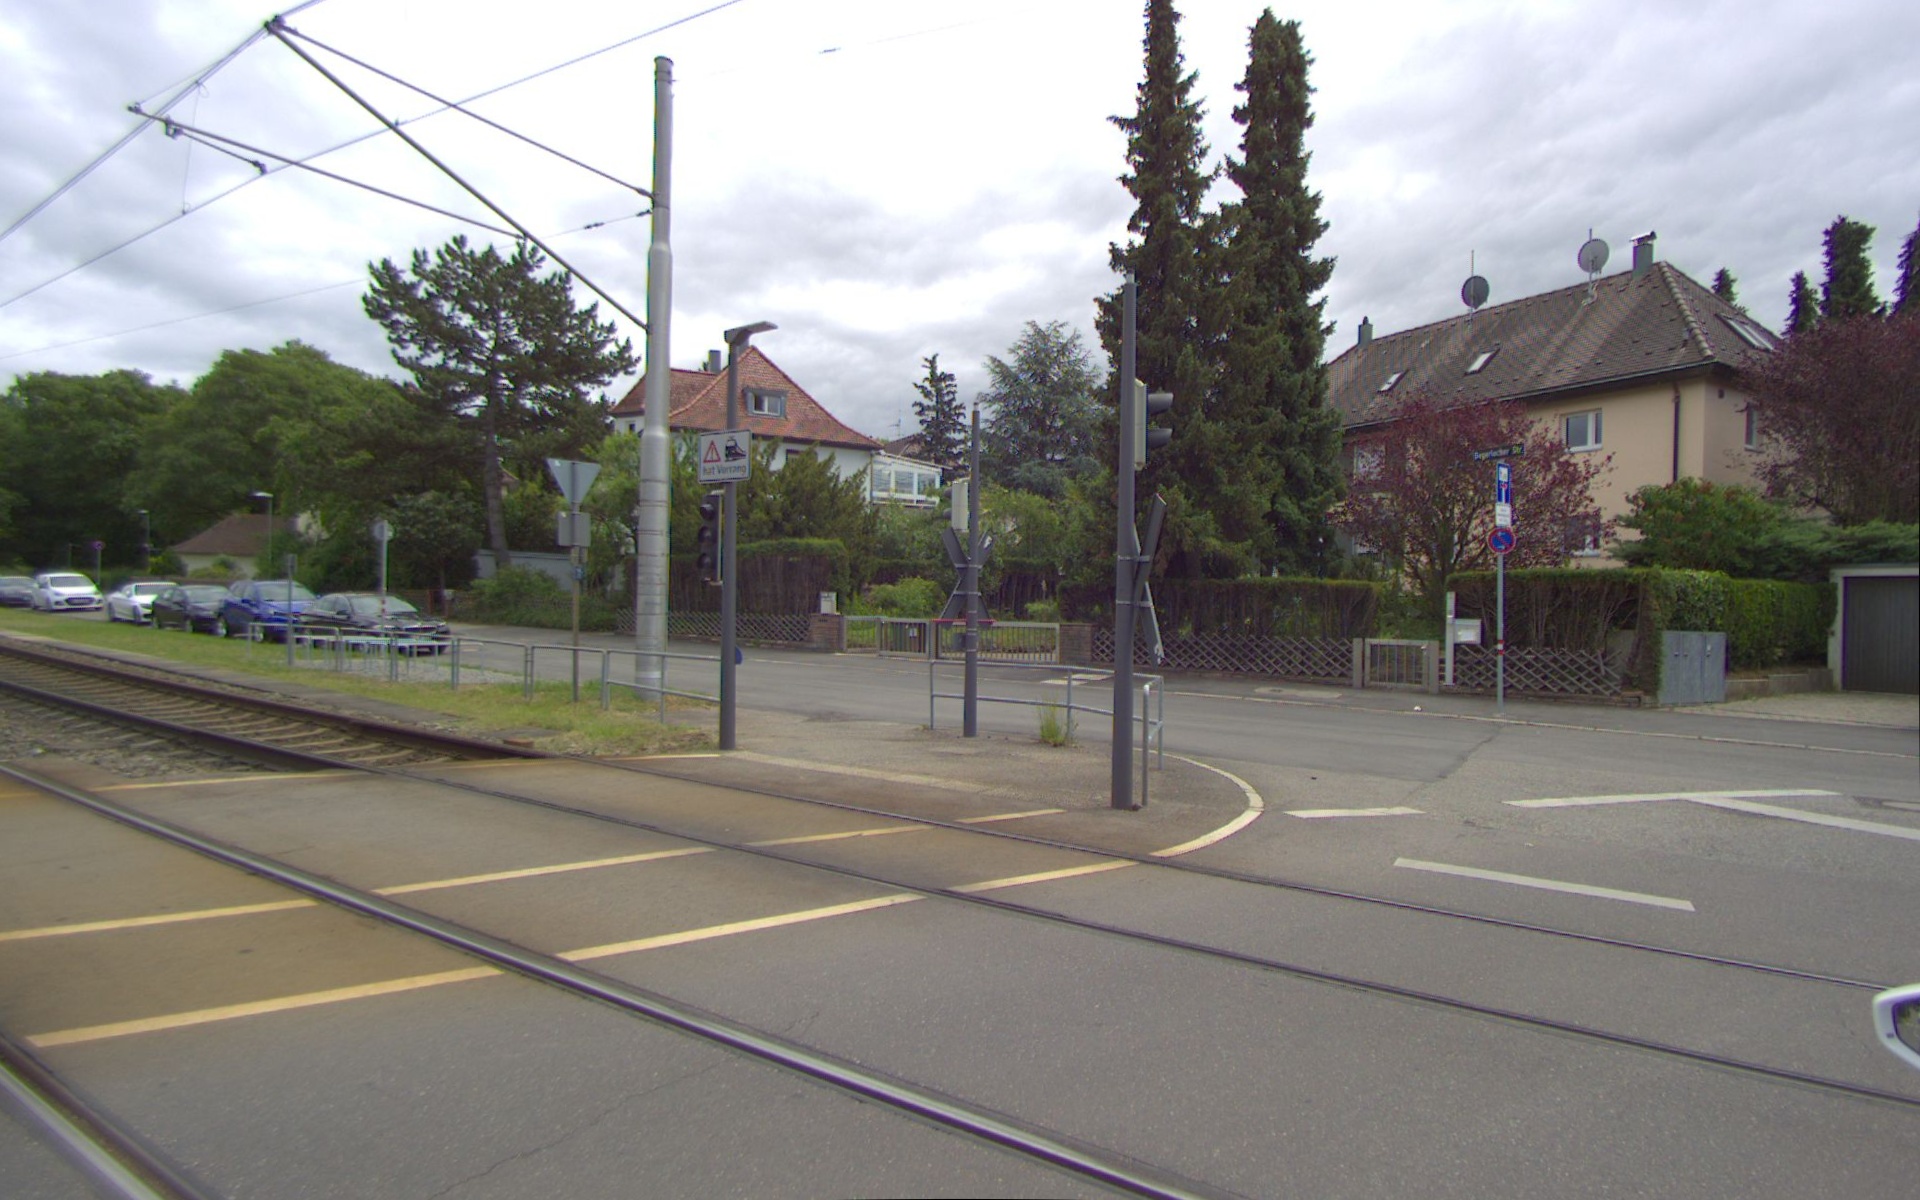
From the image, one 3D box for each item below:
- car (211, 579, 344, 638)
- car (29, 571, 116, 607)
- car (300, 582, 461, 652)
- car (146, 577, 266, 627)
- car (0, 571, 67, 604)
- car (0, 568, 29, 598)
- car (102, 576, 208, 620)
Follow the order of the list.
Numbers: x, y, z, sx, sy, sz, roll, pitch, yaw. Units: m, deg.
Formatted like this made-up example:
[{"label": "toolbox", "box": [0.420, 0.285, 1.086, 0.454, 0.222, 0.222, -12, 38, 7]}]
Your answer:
[{"label": "car", "box": [-19.154, 0.192, 28.146, 3.934, 1.500, 1.849, 2, 1, 35]}, {"label": "car", "box": [-36.312, -0.461, 41.078, 3.934, 1.394, 1.849, 2, 1, 35]}, {"label": "car", "box": [-14.284, 0.371, 24.710, 4.049, 1.521, 1.817, 2, 1, 33]}, {"label": "car", "box": [-23.166, 0.045, 30.834, 3.934, 1.394, 1.849, 2, 1, 35]}, {"label": "car", "box": [-40.563, -0.552, 43.628, 3.934, 1.394, 1.849, 2, 1, 35]}, {"label": "car", "box": [-45.795, -0.843, 47.482, 3.934, 1.394, 1.849, 2, 1, 35]}, {"label": "car", "box": [-27.769, -0.091, 34.624, 3.934, 1.394, 1.849, 2, 1, 35]}]
